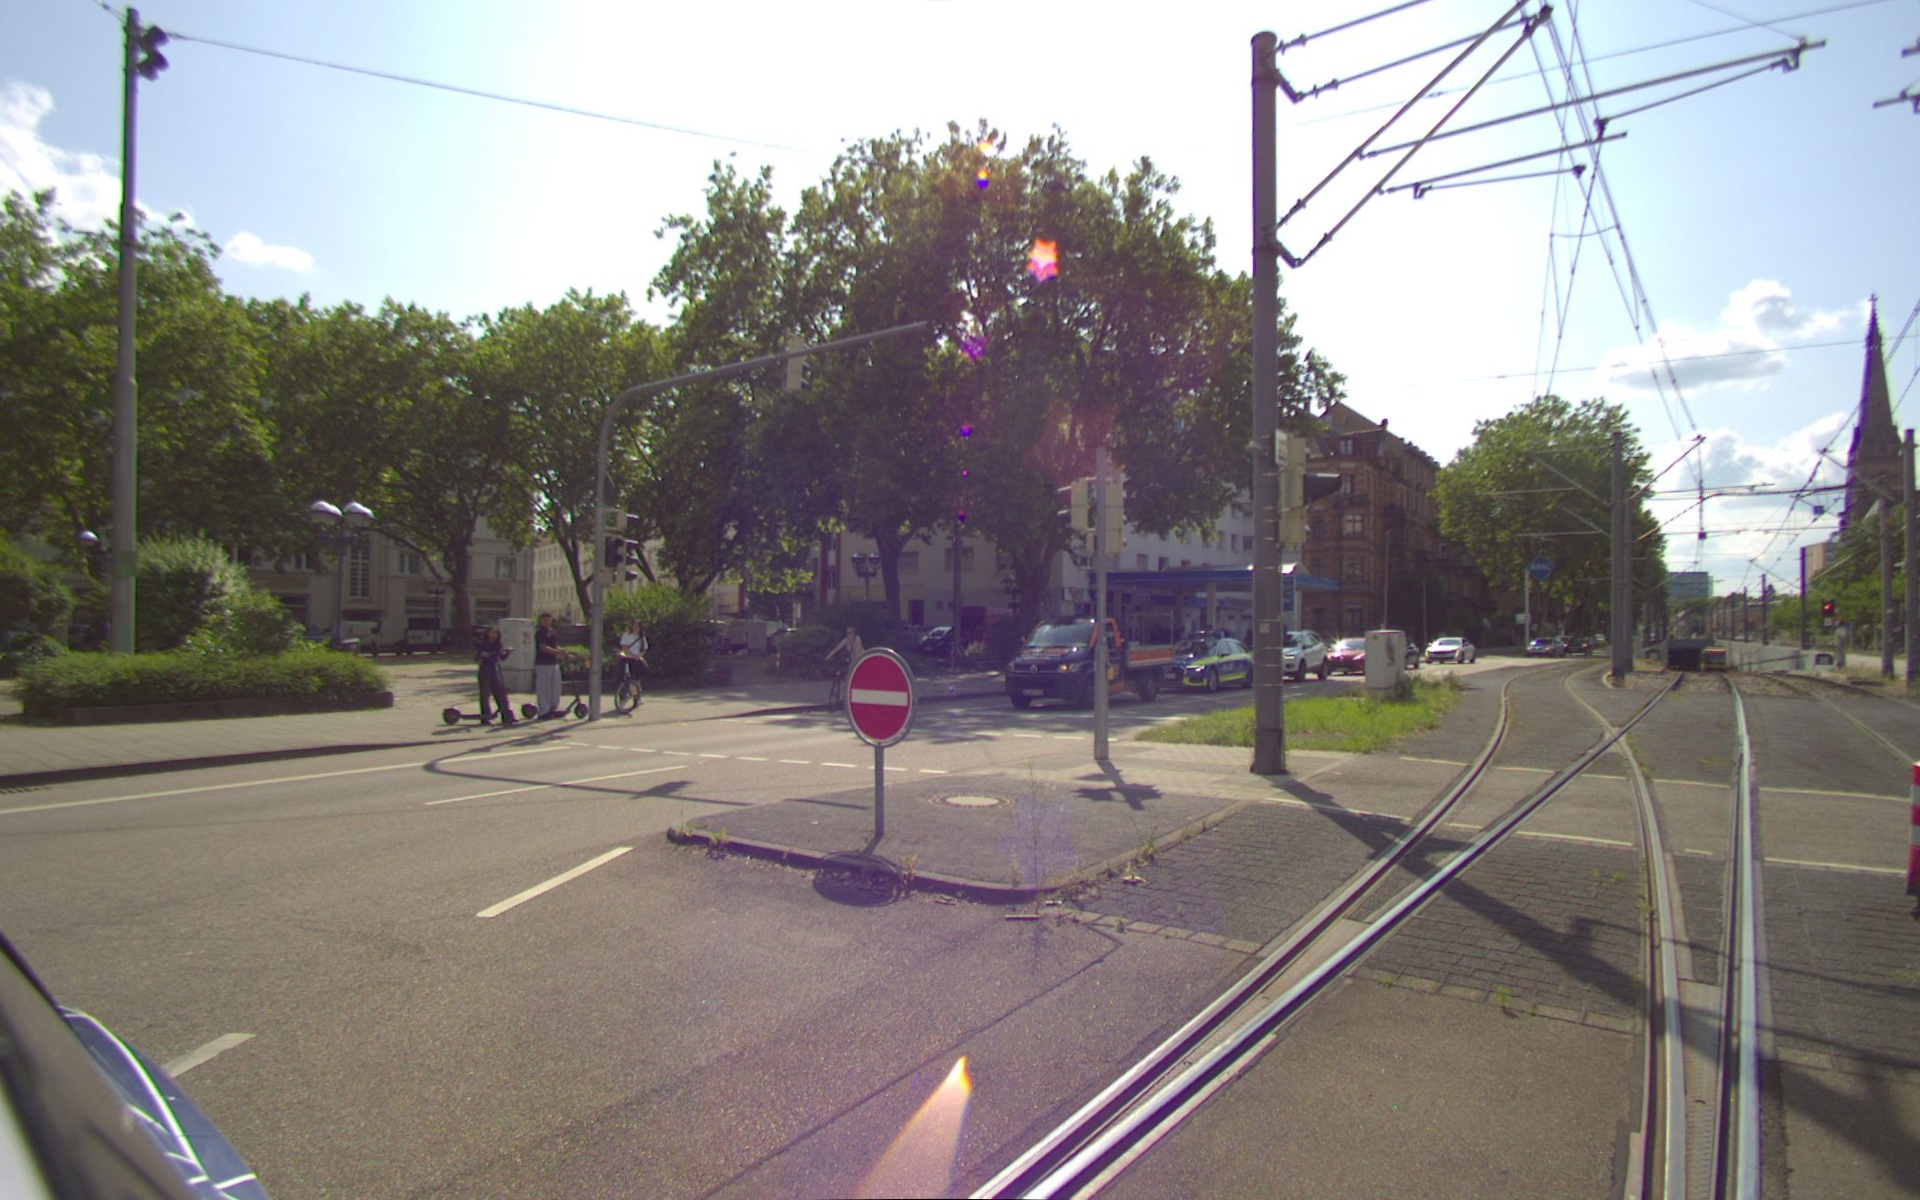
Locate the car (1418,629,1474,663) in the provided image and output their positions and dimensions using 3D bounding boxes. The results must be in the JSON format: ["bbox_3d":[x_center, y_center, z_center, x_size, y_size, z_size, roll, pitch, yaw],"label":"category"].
[{"bbox_3d":[26.668,2.489,55.448,1.949,1.619,5.016,-1,-1,35],"label":"car"}]

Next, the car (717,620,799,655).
[{"bbox_3d":[-11.838,2.218,59.606,1.995,1.949,4.627,-4,-4,34],"label":"car"}]

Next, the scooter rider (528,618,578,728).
[{"bbox_3d":[-6.972,1.240,17.345,0.668,1.824,0.546,2,-1,-29],"label":"scooter rider"}]

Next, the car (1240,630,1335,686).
[{"bbox_3d":[11.132,1.895,34.160,1.762,1.619,4.623,-1,-1,35],"label":"car"}]

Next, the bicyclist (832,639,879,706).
[{"bbox_3d":[-2.178,1.490,21.131,0.471,1.354,0.896,-1,-2,44],"label":"bicyclist"}]

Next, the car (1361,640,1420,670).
[{"bbox_3d":[19.271,2.435,45.237,1.619,1.198,3.588,-1,-2,37],"label":"car"}]

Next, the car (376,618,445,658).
[{"bbox_3d":[-29.954,2.082,55.128,3.934,2.029,2.223,-4,-4,43],"label":"car"}]

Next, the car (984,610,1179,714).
[{"bbox_3d":[2.855,1.254,22.581,2.077,2.002,5.272,-1,-1,35],"label":"car"}]

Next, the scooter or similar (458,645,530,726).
[{"bbox_3d":[-7.573,1.376,16.461,0.868,1.235,0.542,2,-1,14],"label":"scooter or similar"}]

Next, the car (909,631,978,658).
[{"bbox_3d":[-0.807,2.226,51.079,1.475,1.304,3.953,-4,-4,34],"label":"car"}]

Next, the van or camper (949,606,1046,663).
[{"bbox_3d":[1.917,1.711,50.041,2.105,2.662,5.282,-4,-4,37],"label":"van or camper"}]

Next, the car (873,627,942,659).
[{"bbox_3d":[-2.716,2.246,53.016,1.527,1.616,3.953,-2,-3,34],"label":"car"}]

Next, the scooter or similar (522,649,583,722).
[{"bbox_3d":[-6.980,1.454,17.338,0.861,1.180,0.546,2,-1,-29],"label":"scooter or similar"}]

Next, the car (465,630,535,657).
[{"bbox_3d":[-26.818,2.515,59.013,4.072,1.545,1.830,-1,-2,34],"label":"car"}]

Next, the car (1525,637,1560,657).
[{"bbox_3d":[42.930,3.438,74.588,1.724,1.427,4.350,-2,-3,37],"label":"car"}]

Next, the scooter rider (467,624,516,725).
[{"bbox_3d":[-7.622,1.195,16.480,0.433,1.605,0.542,2,-1,14],"label":"scooter rider"}]

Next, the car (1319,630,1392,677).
[{"bbox_3d":[15.532,2.043,39.659,1.714,1.619,4.094,-1,-1,35],"label":"car"}]

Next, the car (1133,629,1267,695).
[{"bbox_3d":[6.820,1.671,28.349,1.869,1.665,5.091,-3,-3,35],"label":"car"}]

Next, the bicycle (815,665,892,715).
[{"bbox_3d":[-2.199,1.857,21.102,0.471,0.928,1.692,-1,-2,44],"label":"bicycle"}]

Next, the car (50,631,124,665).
[{"bbox_3d":[-45.404,2.455,52.623,4.072,1.672,1.830,-1,-2,34],"label":"car"}]

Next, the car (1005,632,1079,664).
[{"bbox_3d":[3.923,2.242,47.928,1.753,1.421,3.953,-1,-2,34],"label":"car"}]

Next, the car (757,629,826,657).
[{"bbox_3d":[-9.685,2.475,58.308,1.660,1.532,3.953,-4,-4,34],"label":"car"}]

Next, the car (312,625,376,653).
[{"bbox_3d":[-38.276,2.391,62.886,4.072,1.672,1.830,-1,-2,34],"label":"car"}]

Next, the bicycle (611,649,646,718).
[{"bbox_3d":[-6.105,1.515,18.692,0.499,1.121,1.636,2,0,-15],"label":"bicycle"}]

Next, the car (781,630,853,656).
[{"bbox_3d":[-7.909,2.372,56.221,1.763,1.374,3.953,-4,-4,34],"label":"car"}]

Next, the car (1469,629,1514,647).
[{"bbox_3d":[61.285,4.379,116.803,4.405,1.933,1.976,0,-2,35],"label":"car"}]

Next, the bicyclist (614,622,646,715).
[{"bbox_3d":[-6.100,1.258,18.725,0.499,1.681,0.585,2,0,-15],"label":"bicyclist"}]
